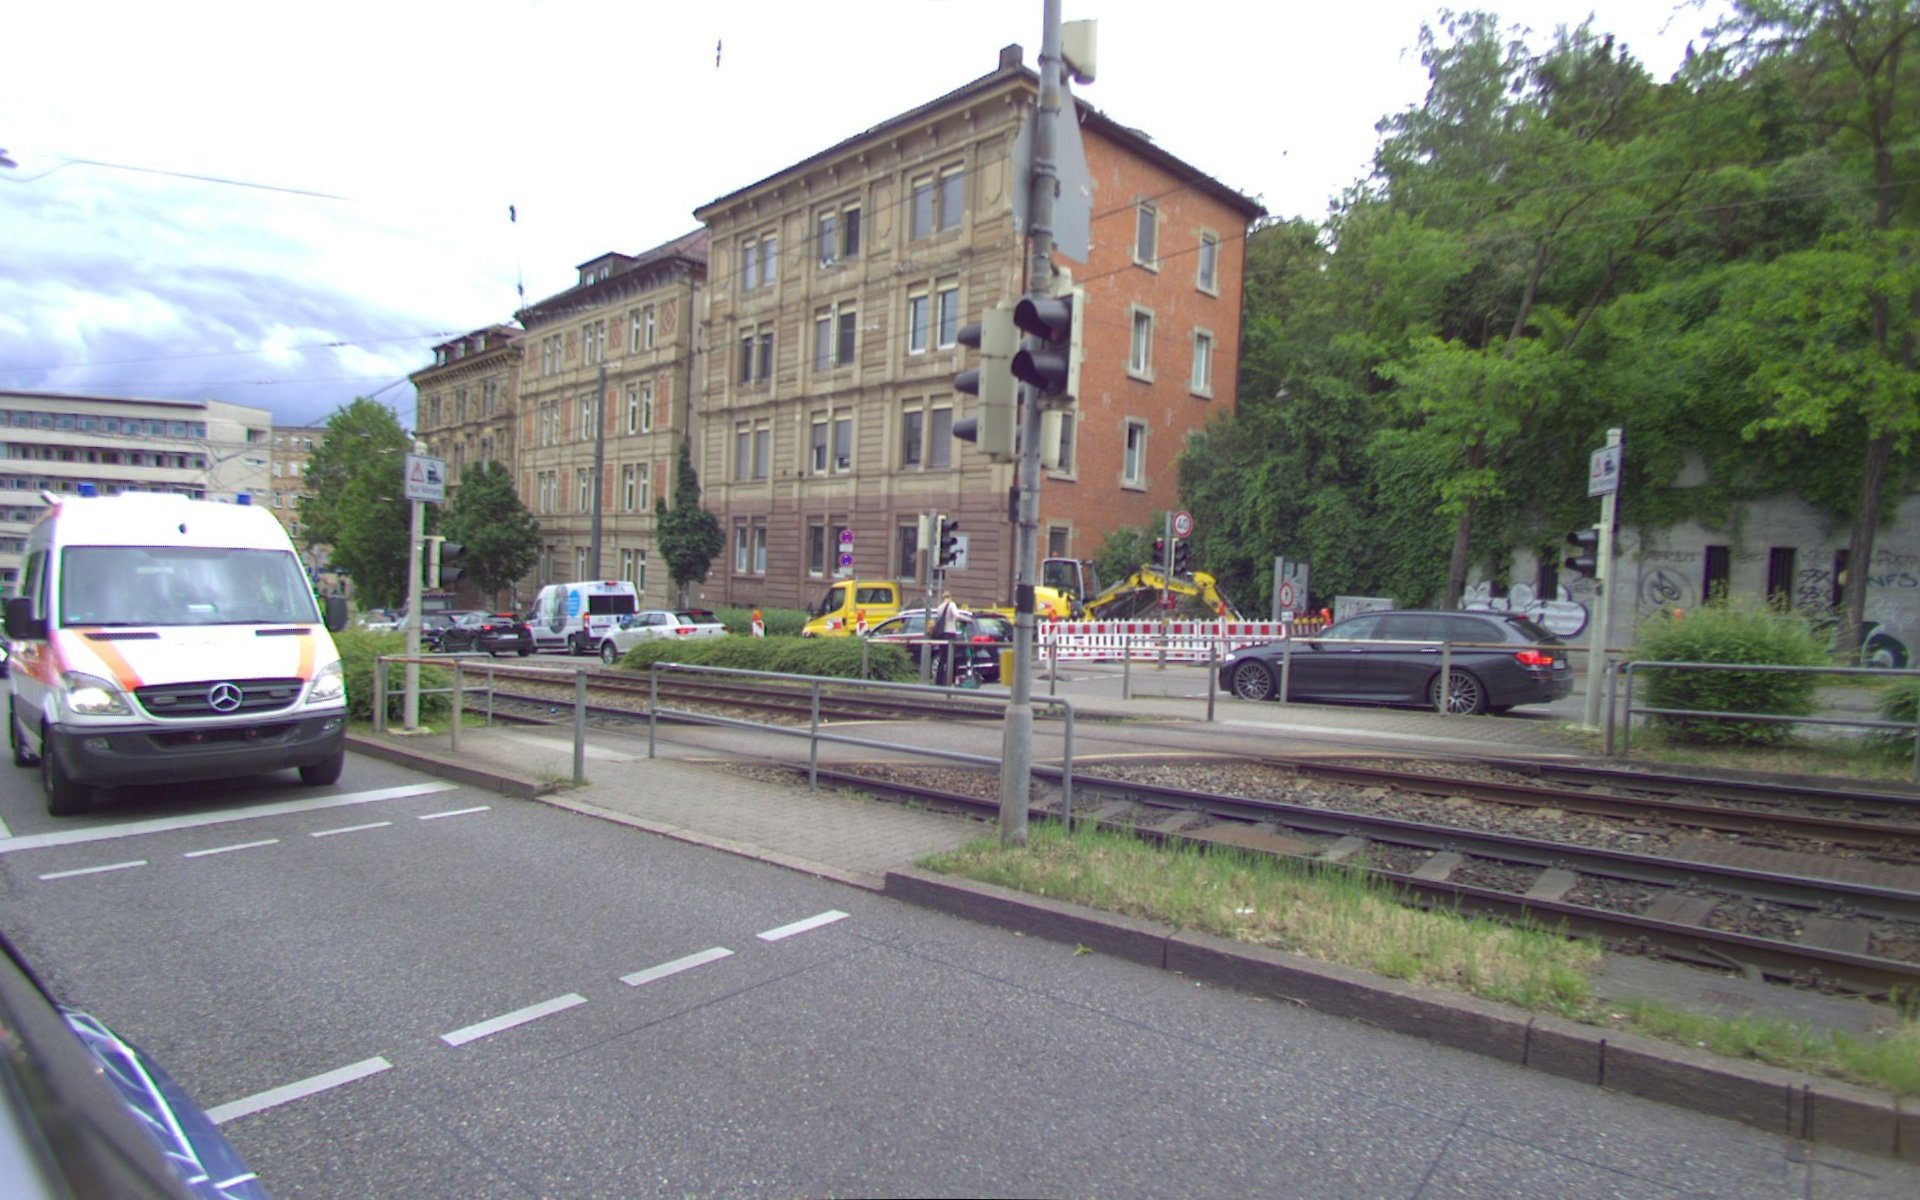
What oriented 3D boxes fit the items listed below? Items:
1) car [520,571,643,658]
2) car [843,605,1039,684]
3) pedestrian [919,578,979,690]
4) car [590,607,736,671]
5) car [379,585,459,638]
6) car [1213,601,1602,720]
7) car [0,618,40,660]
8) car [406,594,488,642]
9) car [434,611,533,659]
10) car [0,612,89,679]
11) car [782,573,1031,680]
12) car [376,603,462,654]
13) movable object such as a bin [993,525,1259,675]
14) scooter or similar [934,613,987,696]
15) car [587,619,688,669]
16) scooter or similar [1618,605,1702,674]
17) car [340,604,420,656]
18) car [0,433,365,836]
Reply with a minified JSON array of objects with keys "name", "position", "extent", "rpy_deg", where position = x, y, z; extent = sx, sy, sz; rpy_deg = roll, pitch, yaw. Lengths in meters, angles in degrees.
[{"name":"car","position":[-13.286,0.519,35.387],"extent":[4.785,2.844,2.184],"rpy_deg":[-1,-2,44]},{"name":"car","position":[-0.467,0.881,21.046],"extent":[4.000,1.473,1.759],"rpy_deg":[-1,-2,43]},{"name":"pedestrian","position":[-0.179,0.578,17.095],"extent":[0.788,1.831,0.736],"rpy_deg":[0,-3,22]},{"name":"car","position":[-7.903,1.003,26.799],"extent":[3.994,1.579,1.687],"rpy_deg":[-1,-2,38]},{"name":"car","position":[-24.809,0.557,46.359],"extent":[2.210,2.305,4.004],"rpy_deg":[1,-2,-43]},{"name":"car","position":[6.305,0.794,14.703],"extent":[1.860,1.446,4.847],"rpy_deg":[4,-3,-45]},{"name":"car","position":[-37.625,1.507,39.639],"extent":[4.316,1.564,1.972],"rpy_deg":[-1,-2,42]},{"name":"car","position":[-22.207,0.779,43.760],"extent":[2.287,1.954,3.439],"rpy_deg":[1,-2,-44]},{"name":"car","position":[-16.113,1.159,34.119],"extent":[1.845,1.531,3.953],"rpy_deg":[1,-2,-44]},{"name":"car","position":[-24.095,1.136,26.373],"extent":[1.903,1.584,4.184],"rpy_deg":[-2,0,-44]},{"name":"car","position":[-1.562,0.646,26.452],"extent":[6.750,2.454,2.415],"rpy_deg":[-1,-1,41]},{"name":"car","position":[-20.113,1.039,37.531],"extent":[1.814,1.763,4.004],"rpy_deg":[1,-2,-43]},{"name":"movable object such as a bin","position":[4.348,0.069,27.093],"extent":[6.531,3.575,2.724],"rpy_deg":[-1,-2,34]},{"name":"scooter or similar","position":[0.025,0.874,16.779],"extent":[0.528,1.306,1.491],"rpy_deg":[0,-1,14]},{"name":"car","position":[-10.170,1.333,31.770],"extent":[1.625,1.465,3.567],"rpy_deg":[0,-1,-44]},{"name":"scooter or similar","position":[13.579,0.766,19.663],"extent":[1.289,1.299,0.423],"rpy_deg":[-2,-2,34]},{"name":"car","position":[-24.100,1.229,41.986],"extent":[1.970,2.060,4.004],"rpy_deg":[1,-2,-43]},{"name":"car","position":[-7.649,0.278,9.605],"extent":[5.856,2.720,2.011],"rpy_deg":[-1,-1,44]}]
